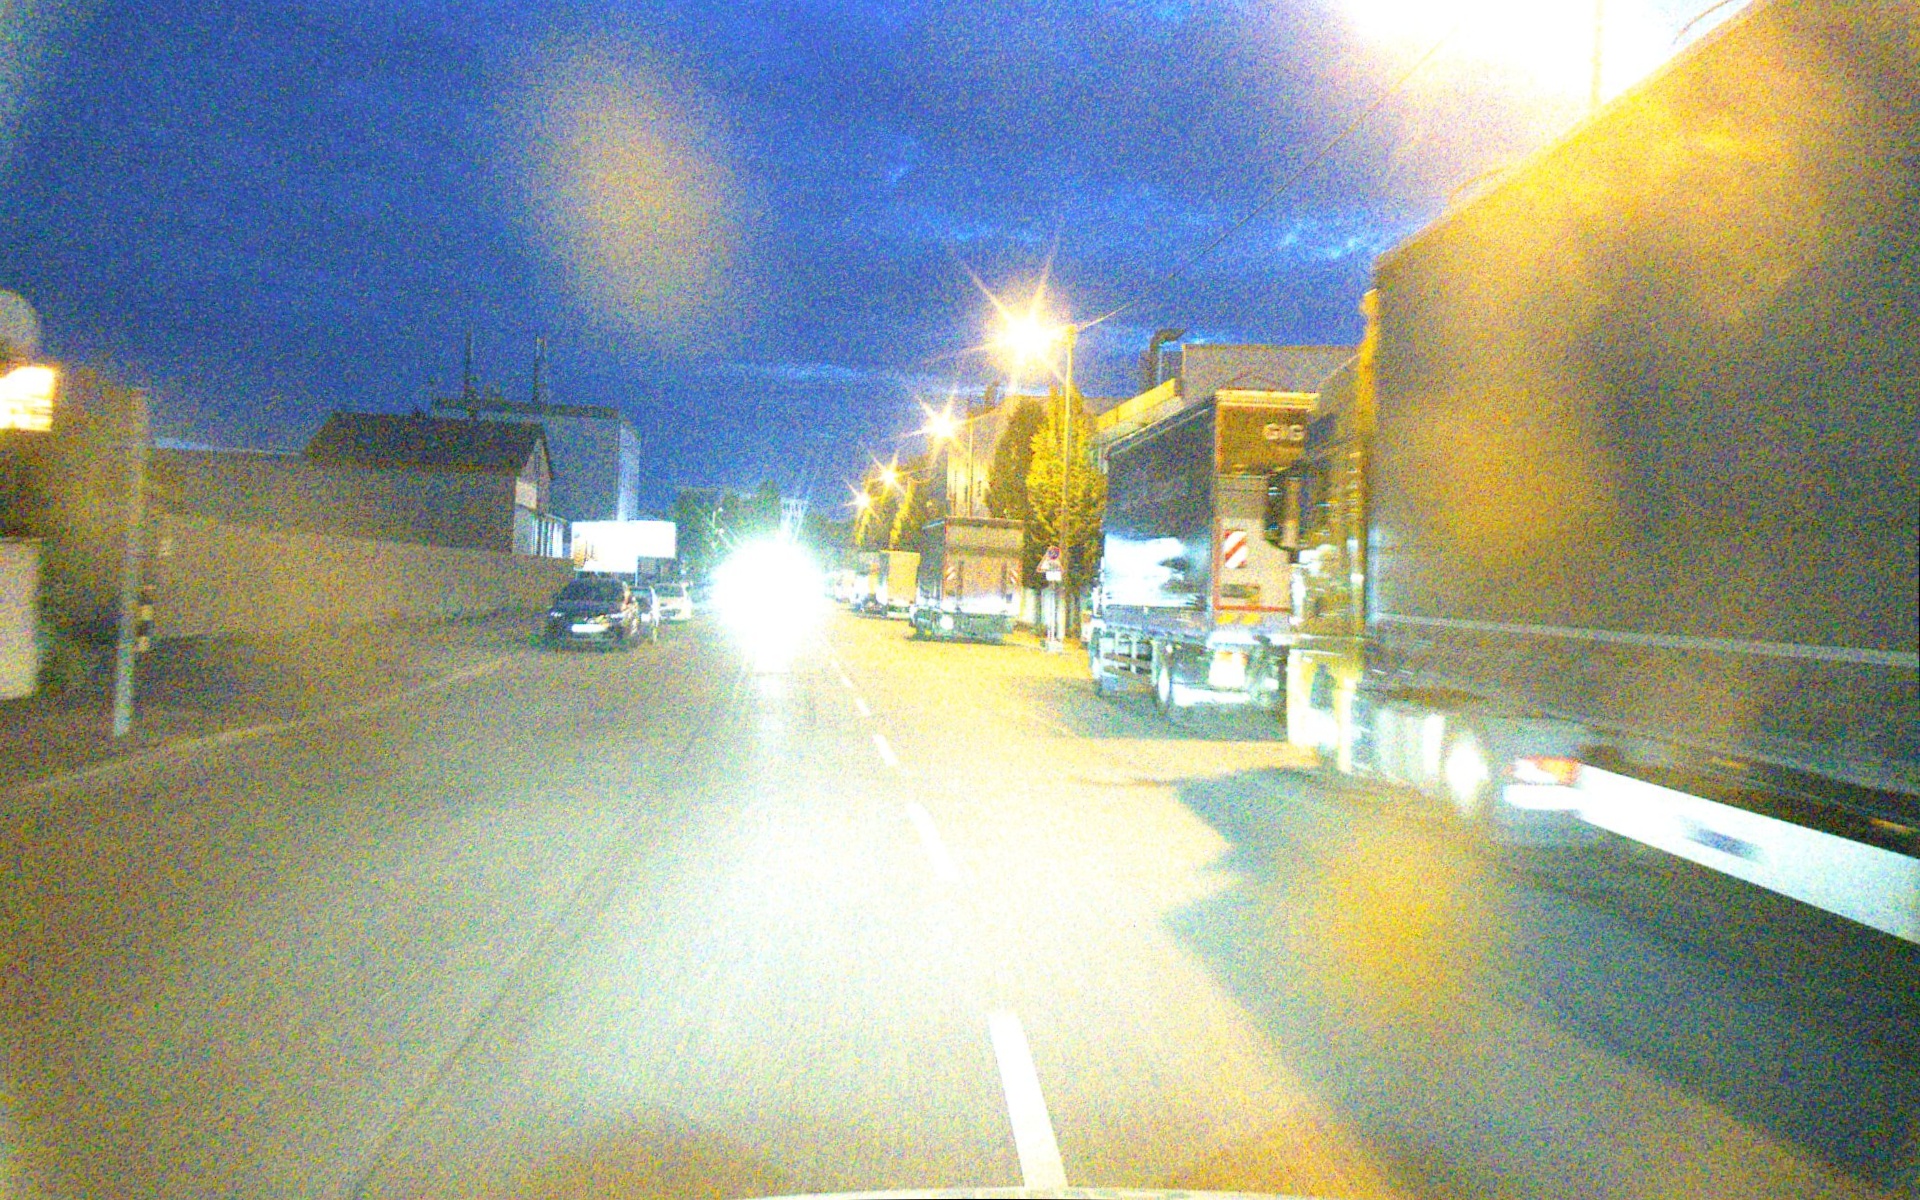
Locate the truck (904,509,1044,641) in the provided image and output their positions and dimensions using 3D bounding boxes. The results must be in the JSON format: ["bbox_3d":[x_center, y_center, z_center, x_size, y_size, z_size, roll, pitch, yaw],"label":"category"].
[{"bbox_3d":[0.273,-0.791,56.881,3.454,4.053,10.326,1,0,-7],"label":"truck"}]

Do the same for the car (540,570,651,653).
[{"bbox_3d":[-8.207,0.235,37.644,1.956,1.665,4.766,3,0,-7],"label":"car"}]

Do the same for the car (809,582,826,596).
[{"bbox_3d":[-18.266,-1.447,211.956,1.955,1.713,3.995,3,0,-6],"label":"car"}]

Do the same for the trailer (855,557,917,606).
[{"bbox_3d":[-4.622,-1.092,101.118,3.123,2.797,10.701,1,0,-6],"label":"trailer"}]

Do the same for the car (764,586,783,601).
[{"bbox_3d":[-19.915,-0.682,176.860,1.955,1.422,3.995,3,0,-6],"label":"car"}]

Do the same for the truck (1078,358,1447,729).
[{"bbox_3d":[3.730,-0.630,23.479,2.774,4.053,10.335,1,0,-3],"label":"truck"}]

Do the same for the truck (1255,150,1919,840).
[{"bbox_3d":[4.397,-0.613,12.869,2.774,4.053,6.046,1,0,-3],"label":"truck"}]

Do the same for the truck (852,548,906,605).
[{"bbox_3d":[-5.358,-1.484,108.212,3.091,3.524,6.664,1,0,-6],"label":"truck"}]

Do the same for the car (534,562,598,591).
[{"bbox_3d":[-26.049,-1.551,109.412,3.913,1.680,1.996,3,0,-9],"label":"car"}]

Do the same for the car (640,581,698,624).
[{"bbox_3d":[-10.793,0.078,61.550,1.806,1.445,3.995,3,0,-6],"label":"car"}]

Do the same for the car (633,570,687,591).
[{"bbox_3d":[-24.985,-1.643,137.757,3.949,1.622,1.978,1,0,-33],"label":"car"}]

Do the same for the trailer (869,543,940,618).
[{"bbox_3d":[-2.948,-0.989,84.891,2.637,3.525,7.794,3,0,-8],"label":"trailer"}]

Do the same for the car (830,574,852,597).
[{"bbox_3d":[-11.711,-1.404,162.075,1.955,2.183,3.995,3,0,-6],"label":"car"}]

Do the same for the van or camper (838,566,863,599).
[{"bbox_3d":[-9.418,-1.494,141.830,1.955,2.626,4.909,3,0,-5],"label":"van or camper"}]

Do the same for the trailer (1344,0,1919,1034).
[{"bbox_3d":[4.595,-0.554,6.151,2.752,4.053,13.971,1,0,-1],"label":"trailer"}]

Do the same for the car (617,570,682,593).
[{"bbox_3d":[-24.295,-1.441,129.345,4.562,1.511,1.981,2,0,-29],"label":"car"}]

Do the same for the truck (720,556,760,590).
[{"bbox_3d":[-25.348,-3.134,190.240,3.821,3.684,8.238,3,0,-11],"label":"truck"}]

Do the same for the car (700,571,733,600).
[{"bbox_3d":[-16.716,-0.994,113.676,1.955,1.825,3.995,3,0,-6],"label":"car"}]

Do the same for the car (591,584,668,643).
[{"bbox_3d":[-8.544,0.314,42.980,1.571,1.377,3.995,3,0,-6],"label":"car"}]
